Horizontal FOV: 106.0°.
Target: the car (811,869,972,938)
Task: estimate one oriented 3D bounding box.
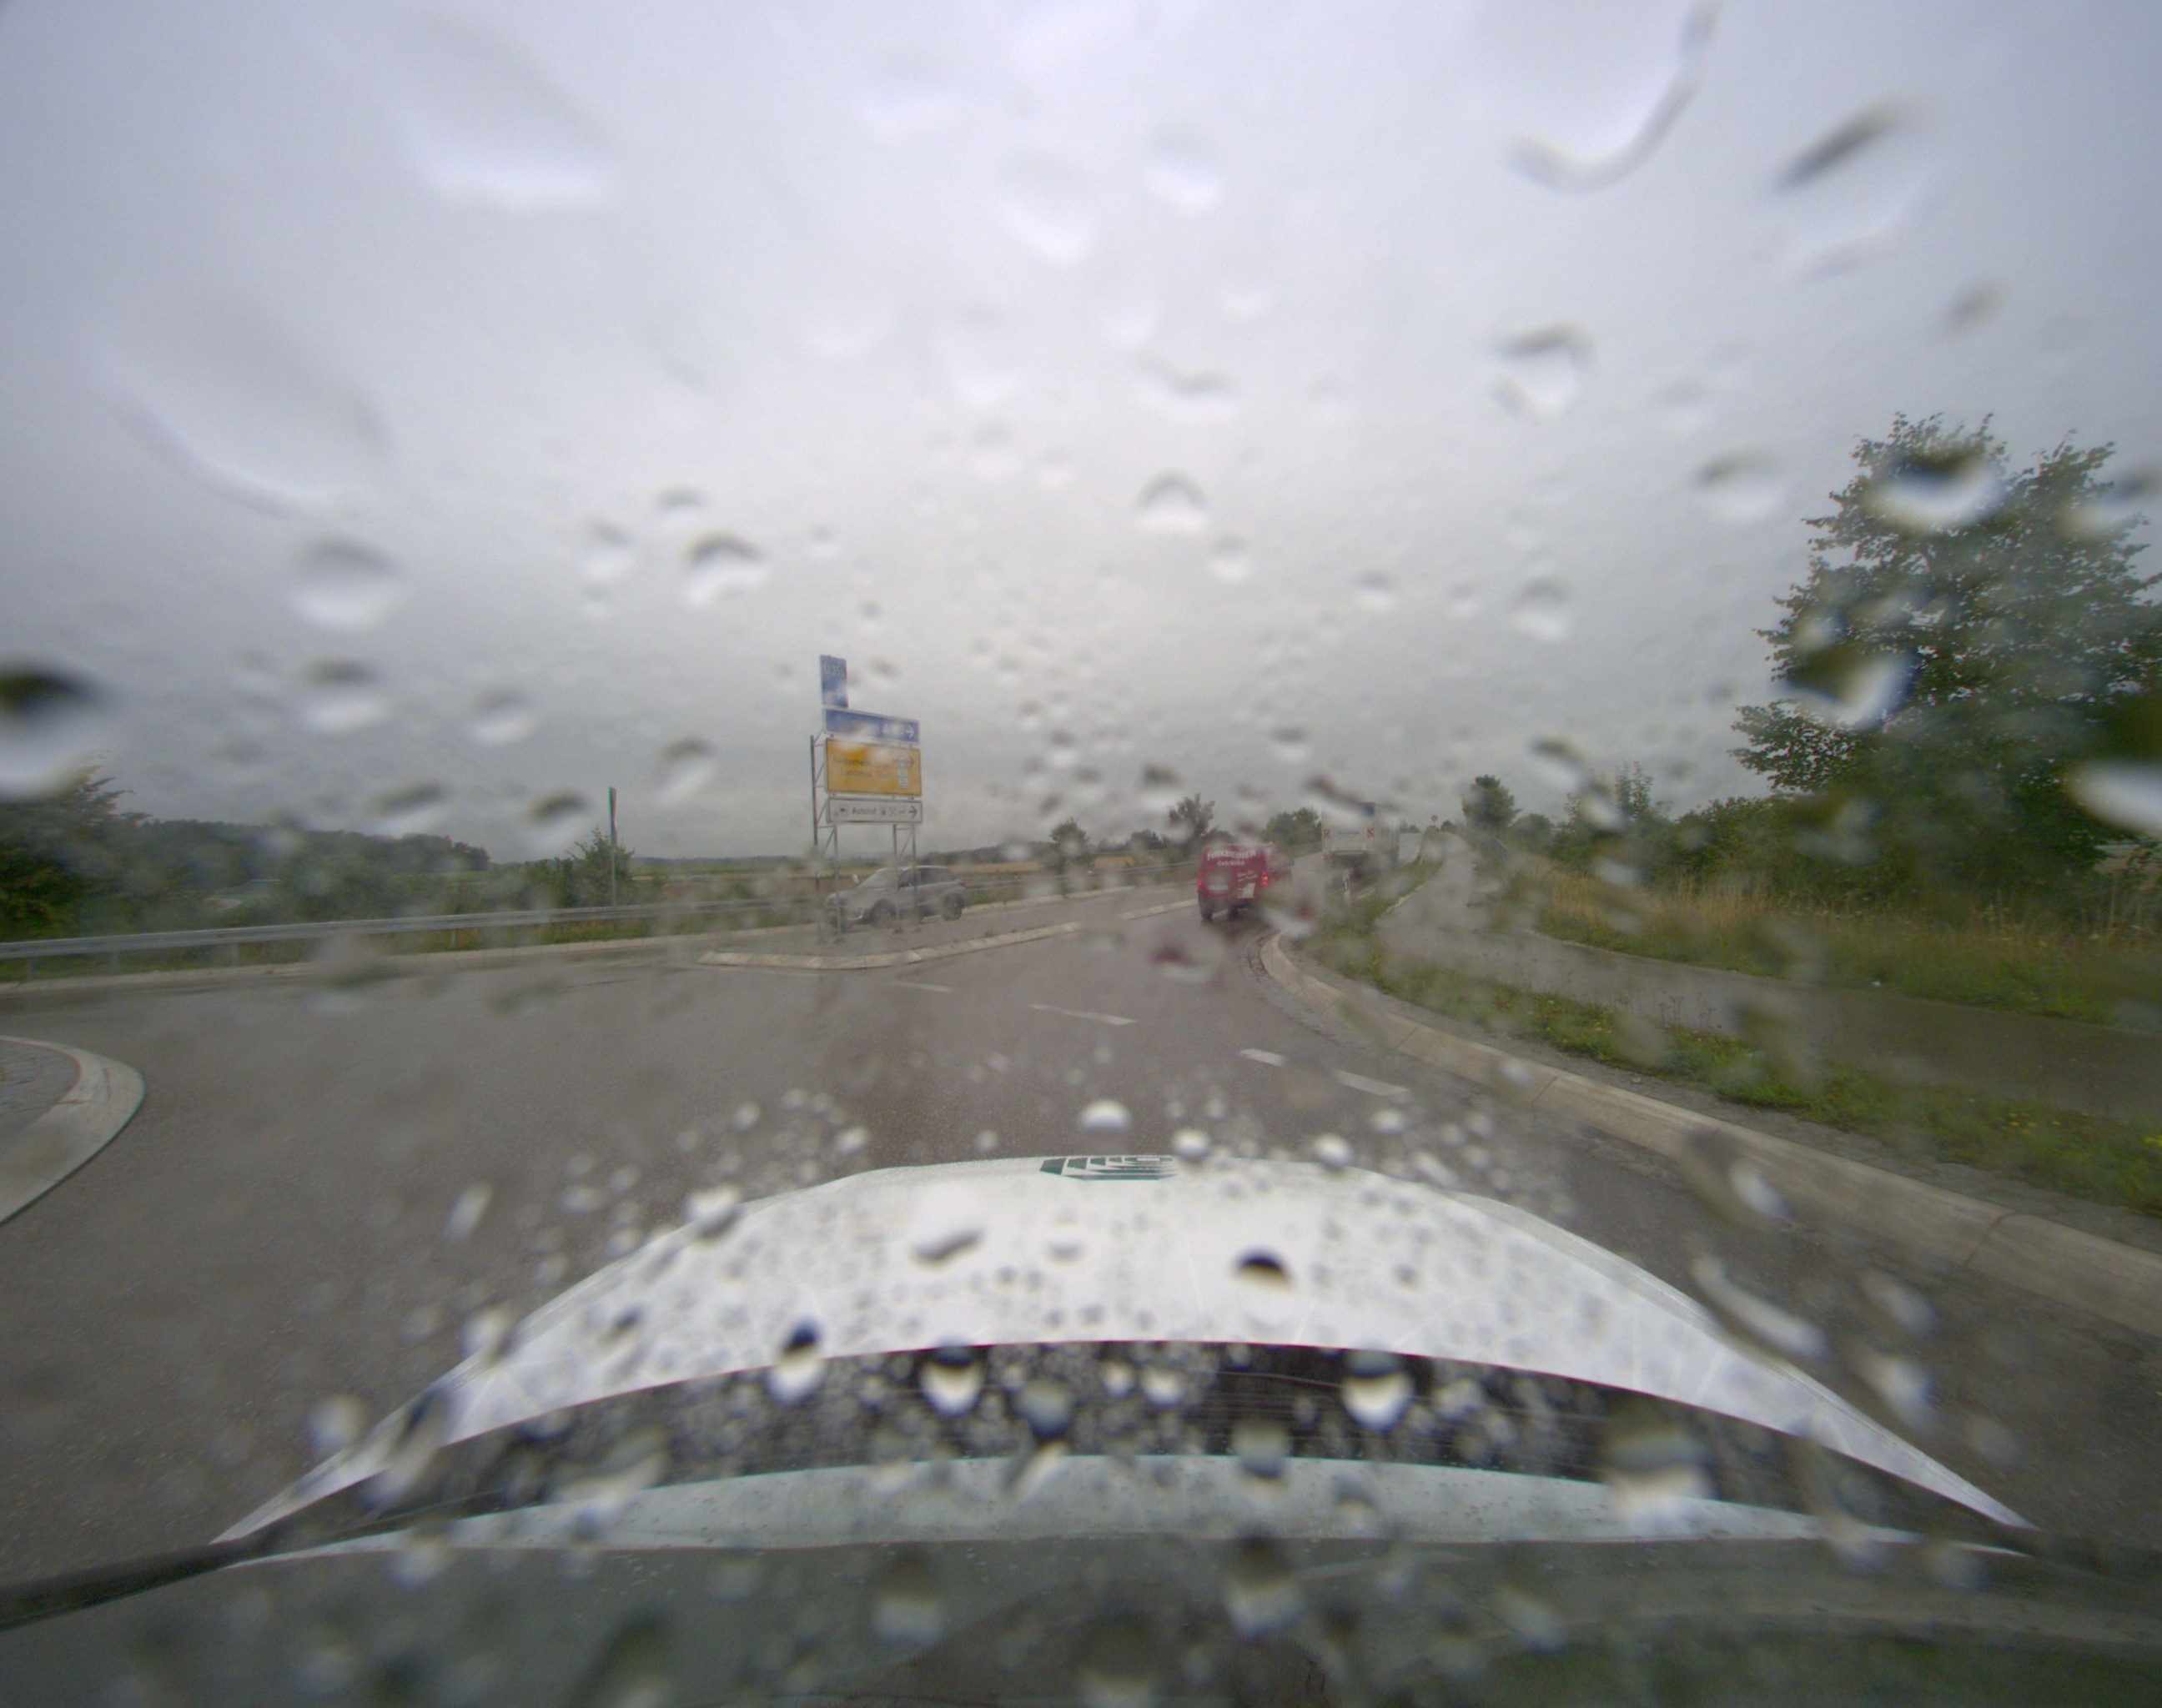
[{"bbox_3d":[-5.056,1.246,22.155,1.783,1.575,4.026,-1,0,37],"label":"car"}]

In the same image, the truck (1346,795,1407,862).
[{"bbox_3d":[18.616,-1.587,51.062,2.774,3.818,7.735,-2,1,25],"label":"truck"}]

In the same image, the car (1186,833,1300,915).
[{"bbox_3d":[4.563,0.448,22.218,1.976,1.870,5.007,-3,1,23],"label":"car"}]

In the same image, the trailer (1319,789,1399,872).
[{"bbox_3d":[14.911,-1.240,43.140,2.806,3.818,9.772,-2,1,25],"label":"trailer"}]

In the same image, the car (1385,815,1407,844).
[{"bbox_3d":[33.603,-2.568,86.863,1.976,2.941,4.023,-1,0,24],"label":"car"}]
